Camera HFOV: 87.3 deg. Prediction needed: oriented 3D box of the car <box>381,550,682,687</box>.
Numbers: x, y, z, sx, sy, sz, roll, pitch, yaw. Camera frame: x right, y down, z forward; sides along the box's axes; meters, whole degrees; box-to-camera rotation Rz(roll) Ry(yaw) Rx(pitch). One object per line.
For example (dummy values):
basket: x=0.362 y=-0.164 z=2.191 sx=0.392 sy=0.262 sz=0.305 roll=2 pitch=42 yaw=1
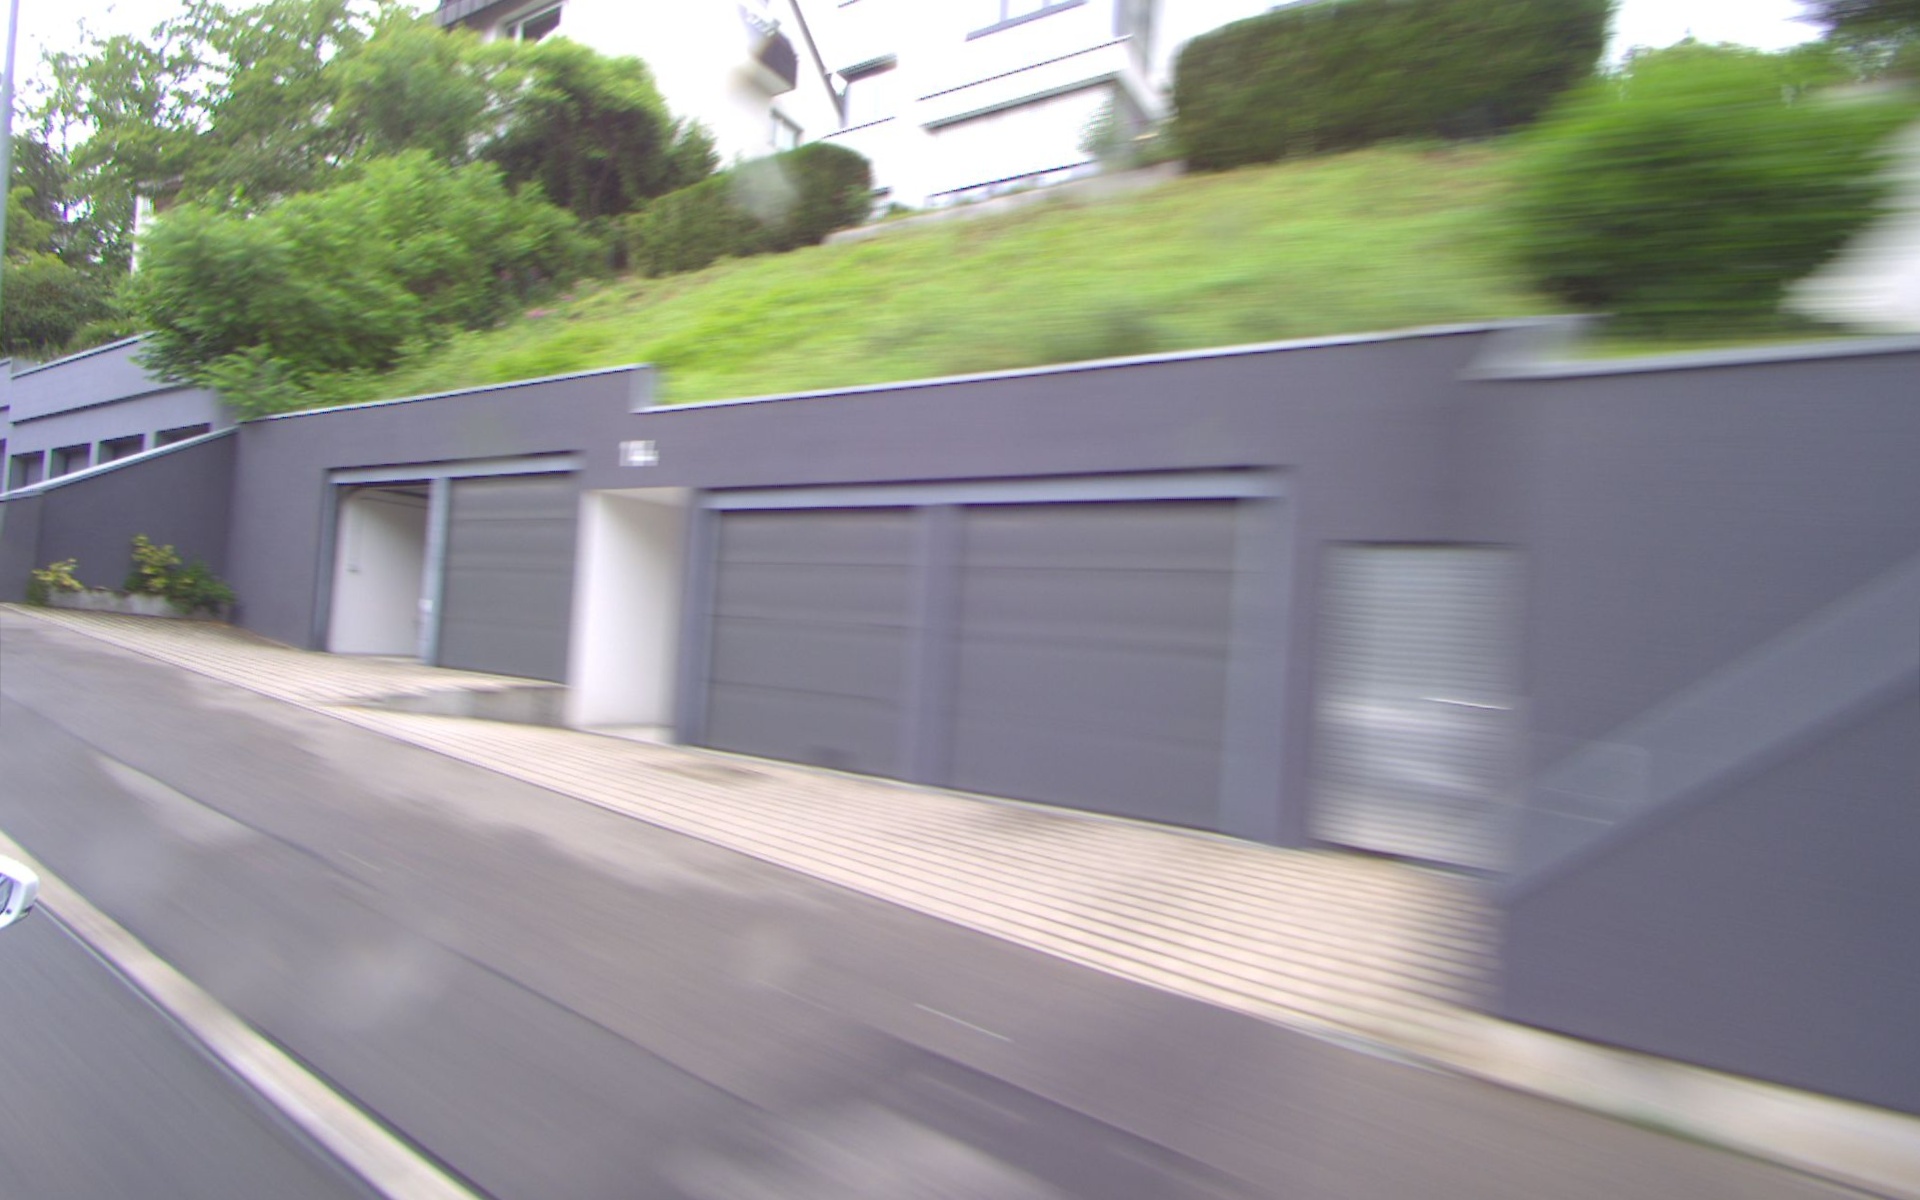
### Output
car: x=-6.180 y=0.387 z=14.875 sx=1.632 sy=1.433 sz=3.689 roll=-2 pitch=-10 yaw=37
